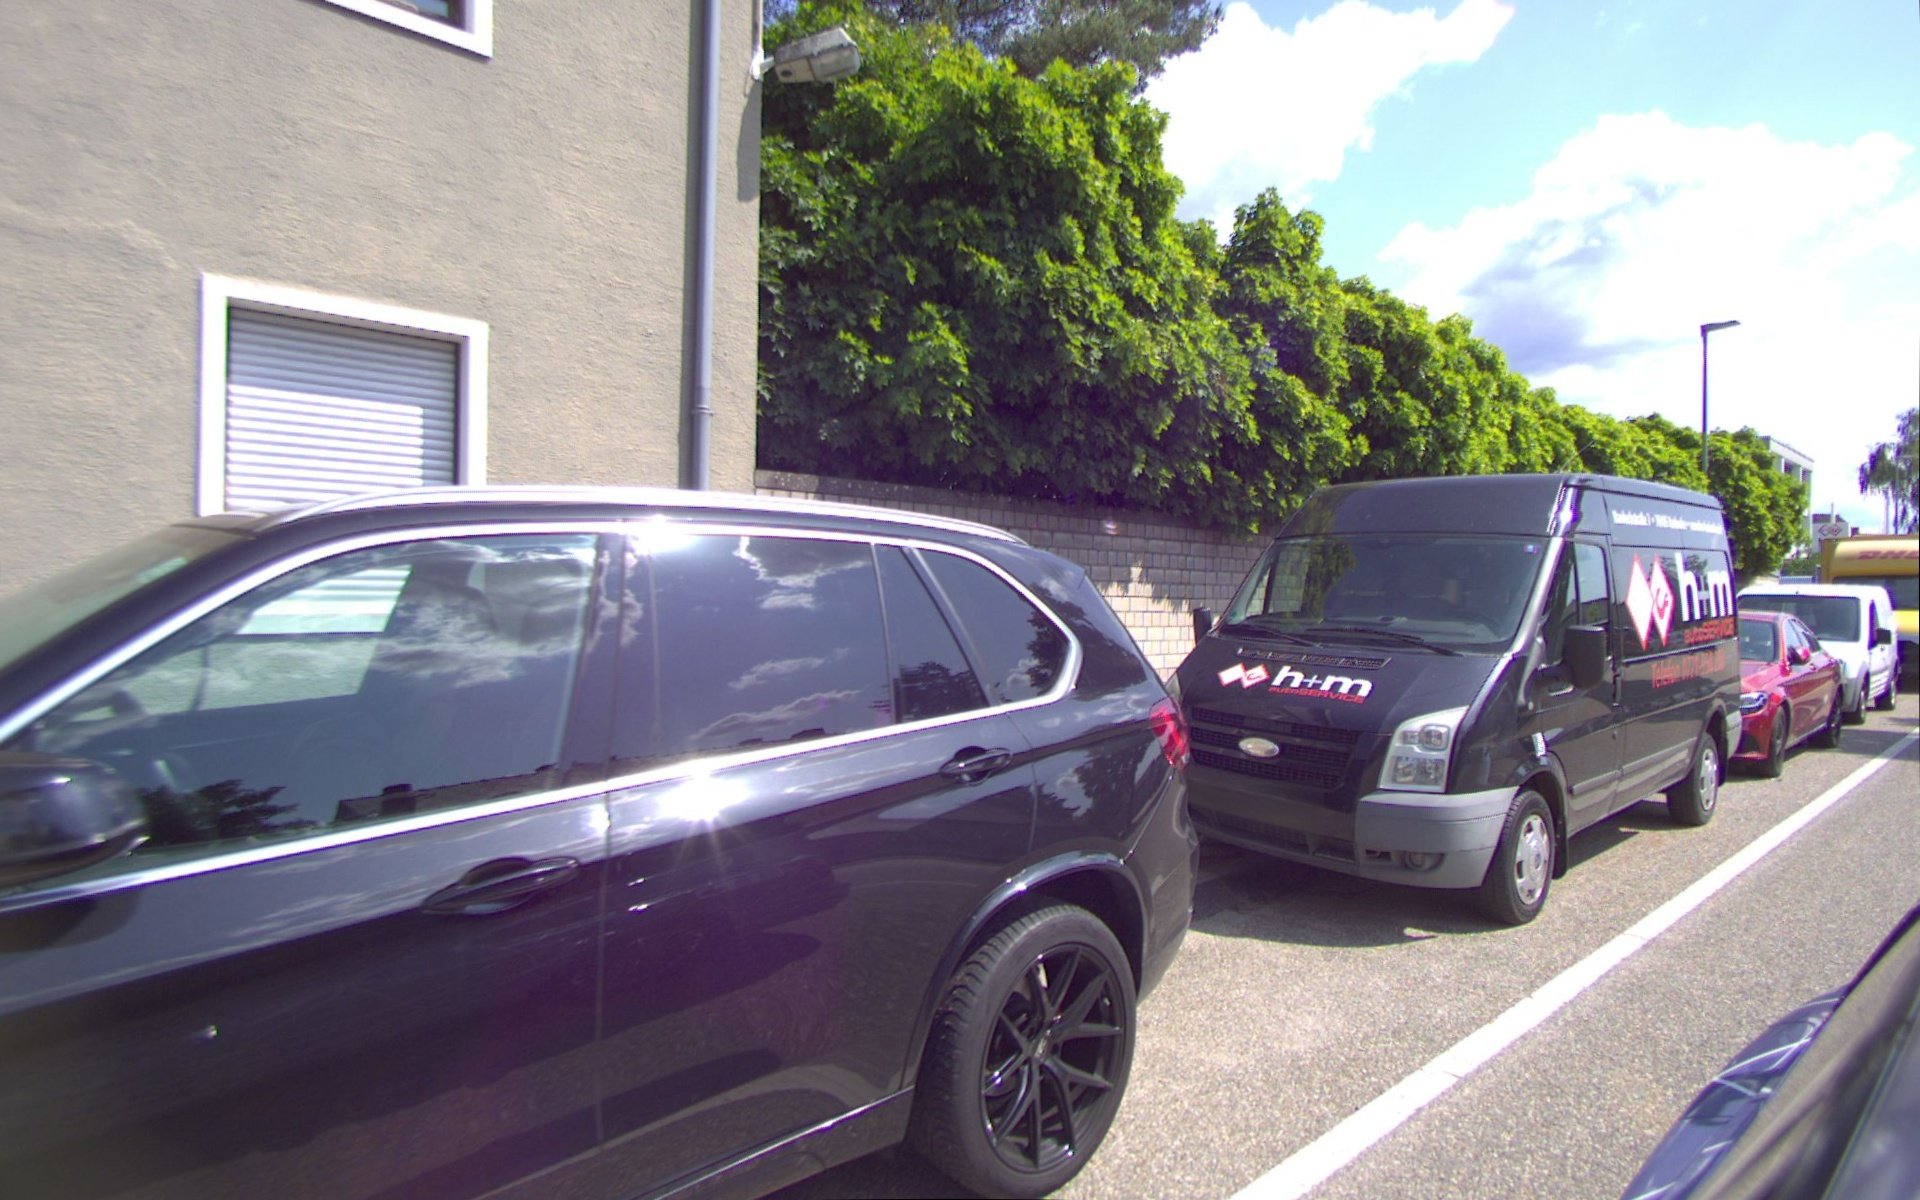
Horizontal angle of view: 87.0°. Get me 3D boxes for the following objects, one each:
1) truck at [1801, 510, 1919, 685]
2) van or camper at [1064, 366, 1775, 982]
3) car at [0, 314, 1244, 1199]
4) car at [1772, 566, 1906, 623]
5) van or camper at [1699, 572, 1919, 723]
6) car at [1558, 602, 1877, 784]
[{"bbox_3d":[18.716,-0.047,19.815,7.065,2.978,2.477,0,-1,-42],"label":"truck"},{"bbox_3d":[3.223,0.283,6.338,5.352,2.320,1.996,0,-1,-41],"label":"van or camper"},{"bbox_3d":[-1.599,0.566,2.149,4.870,1.803,1.962,0,-1,-42],"label":"car"},{"bbox_3d":[43.308,-0.300,49.995,4.904,2.685,2.042,1,0,42],"label":"car"},{"bbox_3d":[12.616,0.567,14.735,5.488,1.828,1.762,0,0,-40],"label":"van or camper"},{"bbox_3d":[7.931,0.760,10.408,4.683,1.460,1.684,0,0,-41],"label":"car"}]
